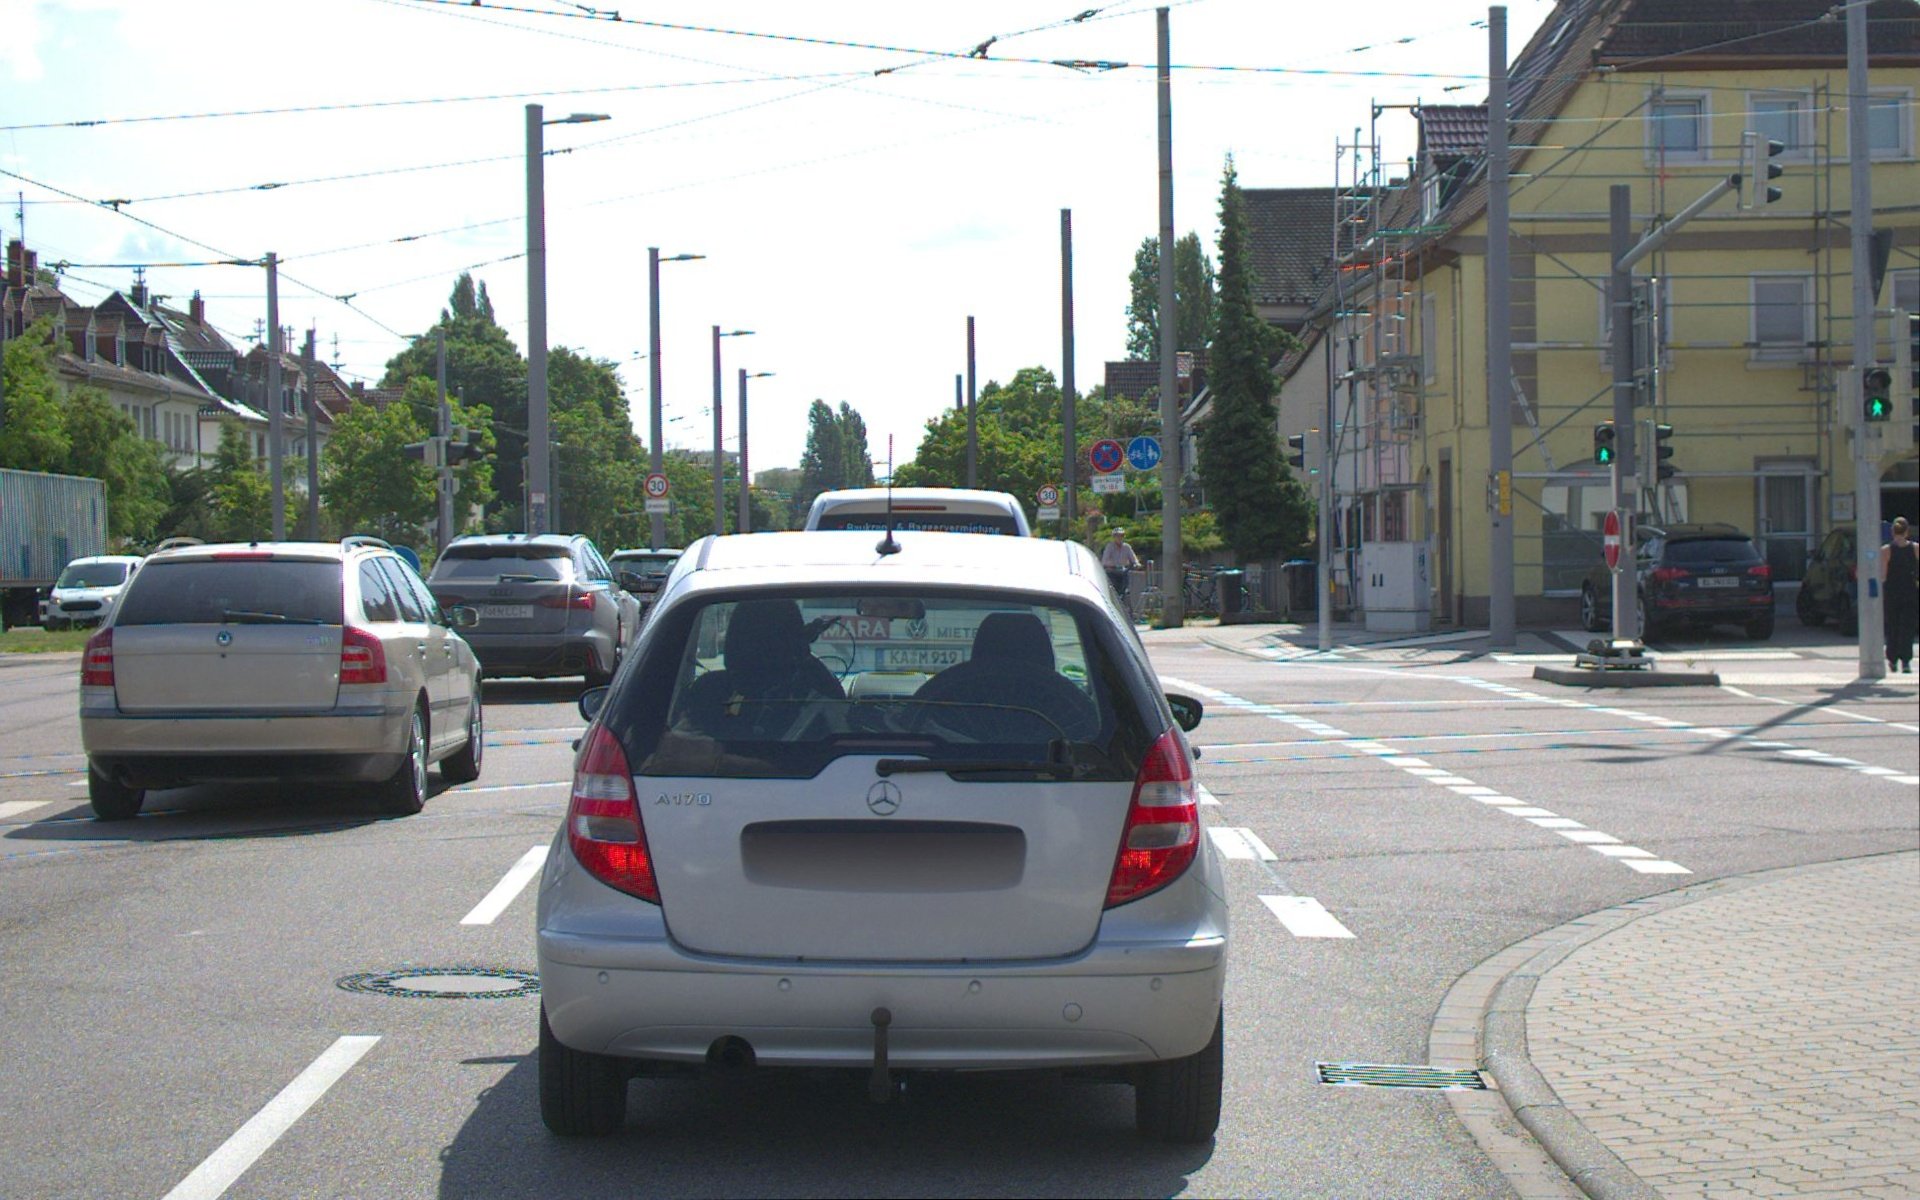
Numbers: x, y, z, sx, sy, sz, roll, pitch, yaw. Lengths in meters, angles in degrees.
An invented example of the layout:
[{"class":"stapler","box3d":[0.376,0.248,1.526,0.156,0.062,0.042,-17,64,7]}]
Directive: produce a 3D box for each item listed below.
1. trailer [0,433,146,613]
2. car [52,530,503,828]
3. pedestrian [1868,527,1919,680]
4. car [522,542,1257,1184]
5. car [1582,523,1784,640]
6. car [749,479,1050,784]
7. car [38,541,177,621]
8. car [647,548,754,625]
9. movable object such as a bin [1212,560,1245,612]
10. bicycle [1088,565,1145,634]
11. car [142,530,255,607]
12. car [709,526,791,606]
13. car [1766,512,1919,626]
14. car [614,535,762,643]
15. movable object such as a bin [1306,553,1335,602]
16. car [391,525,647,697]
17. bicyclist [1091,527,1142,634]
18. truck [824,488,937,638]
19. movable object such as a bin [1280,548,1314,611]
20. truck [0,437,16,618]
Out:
[{"class":"trailer","box3d":[-21.470,-1.727,77.708,2.599,3.808,12.837,-3,2,1]},{"class":"car","box3d":[-3.680,0.353,19.222,1.731,1.444,4.123,1,1,-1]},{"class":"pedestrian","box3d":[10.132,0.040,37.101,0.547,1.638,0.401,1,0,4]},{"class":"car","box3d":[-0.272,0.616,10.207,1.730,1.512,4.017,1,0,-3]},{"class":"car","box3d":[10.415,-0.269,49.790,1.993,1.590,4.131,1,0,-1]},{"class":"car","box3d":[-0.400,0.171,22.064,1.730,1.756,4.017,1,0,-1]},{"class":"car","box3d":[-18.465,-0.419,74.642,1.794,1.631,4.471,-1,0,1]},{"class":"car","box3d":[-4.828,-0.259,64.347,1.852,1.383,3.919,1,0,-3]},{"class":"movable object such as a bin","box3d":[4.730,-0.244,60.515,0.511,0.915,0.741,0,0,0]},{"class":"bicycle","box3d":[2.575,-0.020,56.689,0.650,1.114,1.588,1,0,-8]},{"class":"car","box3d":[-18.779,-0.770,85.006,1.794,1.809,4.713,-2,0,-1]},{"class":"car","box3d":[-5.020,-0.817,82.540,1.852,1.837,3.919,1,0,-3]},{"class":"car","box3d":[13.325,-0.442,50.348,1.993,1.590,4.131,1,0,-1]},{"class":"car","box3d":[-3.692,-0.156,47.291,1.852,1.383,4.515,1,0,-3]},{"class":"movable object such as a bin","box3d":[6.964,-0.435,66.406,0.468,0.943,0.558,-1,0,-1]},{"class":"car","box3d":[-4.064,0.069,32.333,1.916,1.472,4.562,1,1,-2]},{"class":"bicyclist","box3d":[2.574,-0.320,56.708,0.650,1.732,0.984,1,0,-7]},{"class":"truck","box3d":[-1.478,-0.658,61.837,1.852,2.543,5.856,1,0,-3]},{"class":"movable object such as a bin","box3d":[5.939,-0.369,60.628,0.511,1.101,0.855,0,0,0]},{"class":"truck","box3d":[-21.623,-1.415,70.522,2.599,3.808,5.667,-3,2,2]}]
